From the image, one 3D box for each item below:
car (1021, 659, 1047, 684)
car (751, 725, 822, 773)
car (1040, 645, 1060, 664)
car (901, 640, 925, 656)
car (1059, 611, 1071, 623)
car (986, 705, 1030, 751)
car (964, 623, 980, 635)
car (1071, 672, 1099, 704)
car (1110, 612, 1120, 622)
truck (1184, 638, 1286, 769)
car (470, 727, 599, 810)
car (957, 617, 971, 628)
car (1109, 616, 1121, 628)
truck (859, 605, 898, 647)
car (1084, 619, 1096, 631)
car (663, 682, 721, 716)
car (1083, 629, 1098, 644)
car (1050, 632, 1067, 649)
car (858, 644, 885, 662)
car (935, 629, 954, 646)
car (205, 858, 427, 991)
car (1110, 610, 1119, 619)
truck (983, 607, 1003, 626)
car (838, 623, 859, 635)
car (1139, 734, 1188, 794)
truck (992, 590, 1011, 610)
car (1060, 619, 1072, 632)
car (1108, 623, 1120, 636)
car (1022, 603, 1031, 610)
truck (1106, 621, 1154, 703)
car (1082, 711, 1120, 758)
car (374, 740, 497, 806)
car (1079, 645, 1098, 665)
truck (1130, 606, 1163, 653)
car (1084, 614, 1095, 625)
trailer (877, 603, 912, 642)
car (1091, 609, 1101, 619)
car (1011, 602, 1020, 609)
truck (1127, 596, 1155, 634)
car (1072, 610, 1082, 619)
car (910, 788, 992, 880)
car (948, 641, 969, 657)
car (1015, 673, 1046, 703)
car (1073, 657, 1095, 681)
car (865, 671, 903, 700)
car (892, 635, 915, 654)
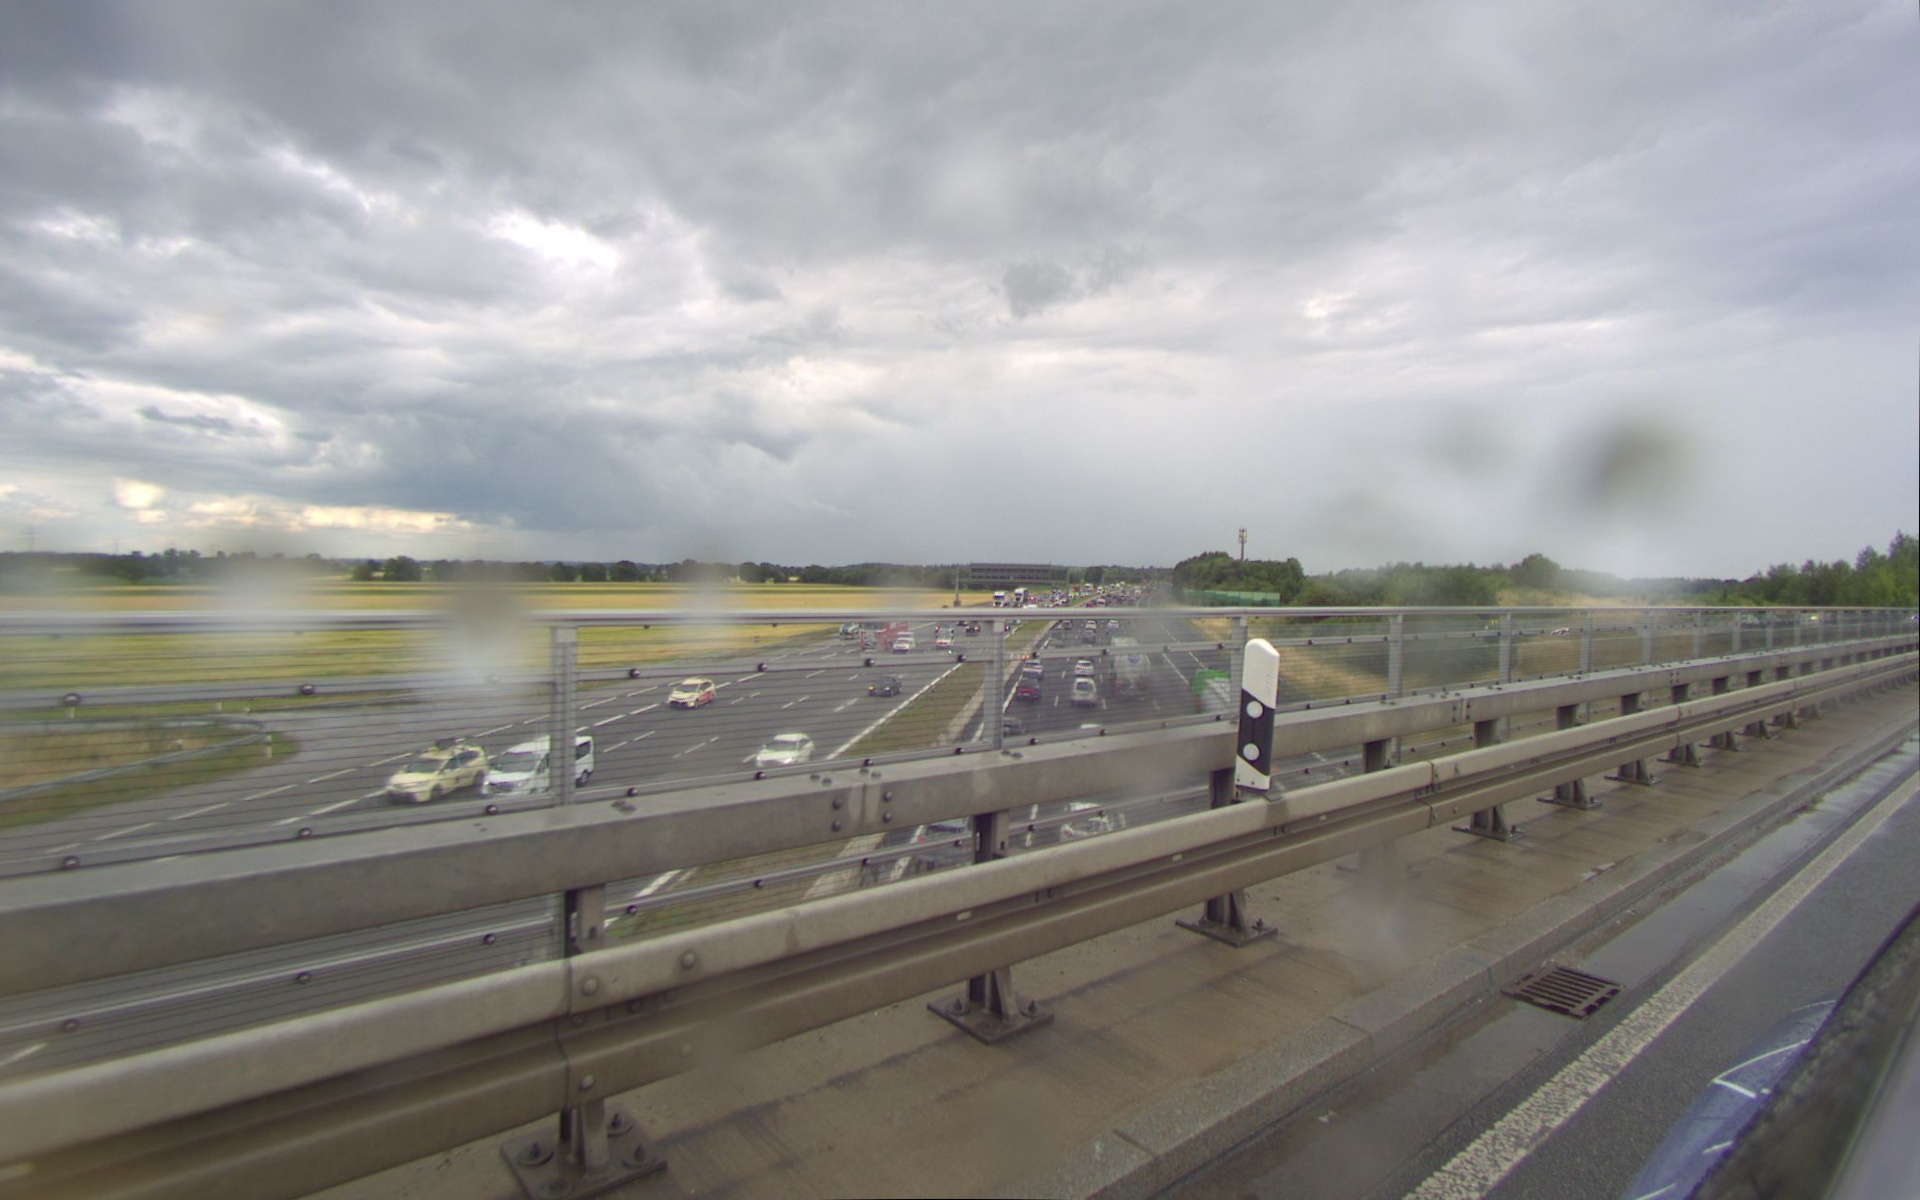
[{"bbox_3d":[6.289,6.009,85.648,1.826,1.797,4.713,0,0,9],"label":"car"},{"bbox_3d":[-8.108,6.940,47.621,1.785,1.504,4.710,0,0,11],"label":"car"},{"bbox_3d":[9.624,5.800,107.860,1.826,1.797,4.713,0,0,9],"label":"car"},{"bbox_3d":[-4.923,5.032,106.300,1.784,1.454,4.715,0,0,7],"label":"car"},{"bbox_3d":[18.585,2.983,179.016,1.965,2.039,3.994,-3,0,6],"label":"car"},{"bbox_3d":[2.513,6.517,52.059,1.826,1.690,4.713,0,0,9],"label":"car"},{"bbox_3d":[1.837,4.444,154.445,1.784,1.690,4.714,0,0,8],"label":"car"},{"bbox_3d":[8.765,6.108,70.724,1.826,1.797,4.713,0,0,9],"label":"car"},{"bbox_3d":[29.185,3.157,190.117,1.826,1.797,4.713,0,0,9],"label":"car"},{"bbox_3d":[14.245,4.986,53.899,3.241,5.230,15.595,0,0,8],"label":"truck"},{"bbox_3d":[-16.579,6.503,39.828,1.968,2.248,5.538,0,0,11],"label":"car"},{"bbox_3d":[0.640,3.774,170.526,1.784,1.690,4.714,0,0,8],"label":"car"},{"bbox_3d":[26.066,3.716,170.232,1.826,1.797,4.713,0,0,9],"label":"car"},{"bbox_3d":[-9.713,3.007,122.062,2.641,4.684,9.732,0,0,8],"label":"truck"},{"bbox_3d":[21.029,4.071,164.042,1.826,1.797,4.713,0,0,9],"label":"car"},{"bbox_3d":[-17.263,6.327,65.374,1.785,1.690,4.710,0,0,11],"label":"car"},{"bbox_3d":[17.401,4.873,134.804,1.826,1.797,4.713,0,0,9],"label":"car"},{"bbox_3d":[11.760,4.794,120.876,1.826,1.797,4.713,0,0,9],"label":"car"},{"bbox_3d":[-8.801,5.257,101.133,1.784,1.454,4.715,0,0,7],"label":"car"},{"bbox_3d":[-1.935,4.676,126.727,1.784,1.870,4.715,0,0,7],"label":"car"},{"bbox_3d":[-14.820,7.416,23.654,1.784,1.504,4.715,0,0,7],"label":"car"},{"bbox_3d":[31.696,2.960,207.571,1.826,1.797,4.713,0,0,9],"label":"car"},{"bbox_3d":[5.915,2.871,181.742,2.553,3.219,8.375,0,0,9],"label":"truck"},{"bbox_3d":[-15.222,3.930,138.852,1.784,1.454,4.715,0,0,7],"label":"car"},{"bbox_3d":[8.615,6.926,43.163,1.826,1.690,4.713,0,0,9],"label":"car"},{"bbox_3d":[10.424,-0.131,254.925,2.751,4.961,12.711,0,0,12],"label":"truck"},{"bbox_3d":[16.834,4.029,160.646,1.826,1.797,4.713,0,0,9],"label":"car"},{"bbox_3d":[23.298,4.394,153.294,1.826,1.797,4.713,0,0,9],"label":"car"},{"bbox_3d":[16.324,1.515,247.779,1.826,1.690,4.713,0,0,9],"label":"car"},{"bbox_3d":[13.496,4.658,81.420,3.241,5.511,15.595,0,0,8],"label":"truck"},{"bbox_3d":[7.188,6.776,51.437,1.826,1.690,4.713,0,0,9],"label":"car"},{"bbox_3d":[-20.357,6.662,39.519,1.785,1.690,4.710,0,0,11],"label":"car"},{"bbox_3d":[13.655,5.772,107.218,1.826,1.797,4.713,0,0,9],"label":"car"},{"bbox_3d":[23.696,3.630,129.434,3.434,5.420,15.595,0,0,8],"label":"truck"},{"bbox_3d":[23.471,3.511,183.453,1.826,1.797,4.713,0,0,9],"label":"car"},{"bbox_3d":[-8.402,2.822,131.741,2.641,4.687,9.887,0,0,8],"label":"trailer"},{"bbox_3d":[27.984,2.892,208.255,1.826,1.797,4.713,0,0,9],"label":"car"},{"bbox_3d":[13.962,1.350,256.081,1.826,1.690,4.713,0,0,9],"label":"car"},{"bbox_3d":[27.329,2.141,153.606,3.434,5.420,15.595,0,0,8],"label":"truck"},{"bbox_3d":[25.029,3.005,216.145,1.826,1.797,4.713,0,0,9],"label":"car"},{"bbox_3d":[-0.186,7.133,31.370,1.826,1.690,4.713,0,0,9],"label":"car"},{"bbox_3d":[-0.166,5.431,112.744,1.784,1.454,4.715,0,0,7],"label":"car"},{"bbox_3d":[5.007,6.186,71.620,1.826,1.690,4.713,0,0,9],"label":"car"},{"bbox_3d":[11.020,6.091,89.824,1.826,1.797,4.713,0,0,9],"label":"car"},{"bbox_3d":[-5.648,6.336,75.676,1.785,1.690,4.712,0,0,9],"label":"car"},{"bbox_3d":[-6.439,5.065,115.624,1.784,1.908,4.715,0,0,7],"label":"car"}]
